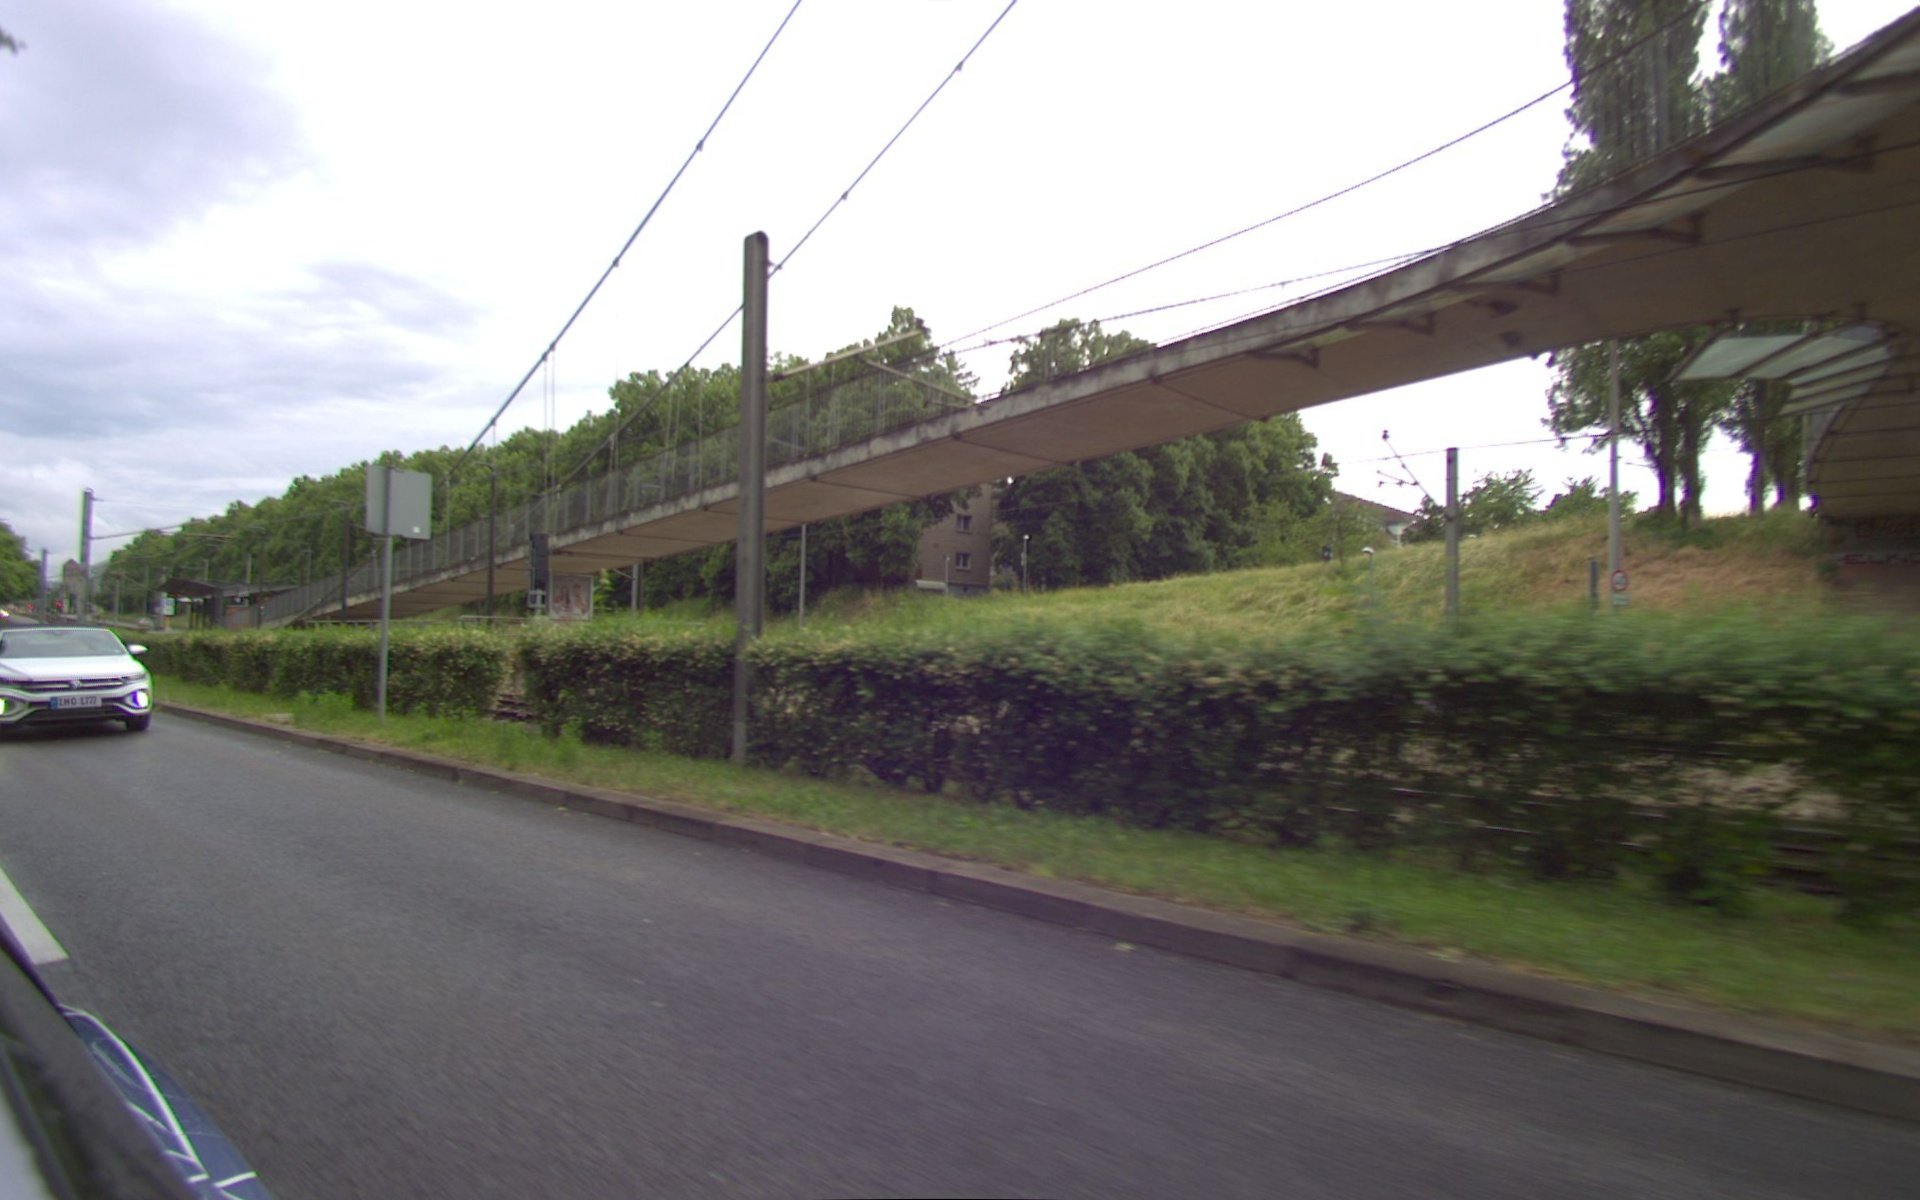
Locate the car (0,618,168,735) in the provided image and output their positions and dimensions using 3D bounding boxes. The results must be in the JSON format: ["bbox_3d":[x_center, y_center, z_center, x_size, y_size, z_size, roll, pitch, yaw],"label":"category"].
[{"bbox_3d":[-13.417,1.024,14.813,4.695,1.476,1.935,-1,-2,40],"label":"car"}]

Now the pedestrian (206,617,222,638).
[{"bbox_3d":[-50.311,1.859,68.271,0.744,1.366,0.693,2,-2,-44],"label":"pedestrian"}]

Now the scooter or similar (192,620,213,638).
[{"bbox_3d":[-53.024,2.053,70.845,1.283,1.227,0.379,0,0,3],"label":"scooter or similar"}]
